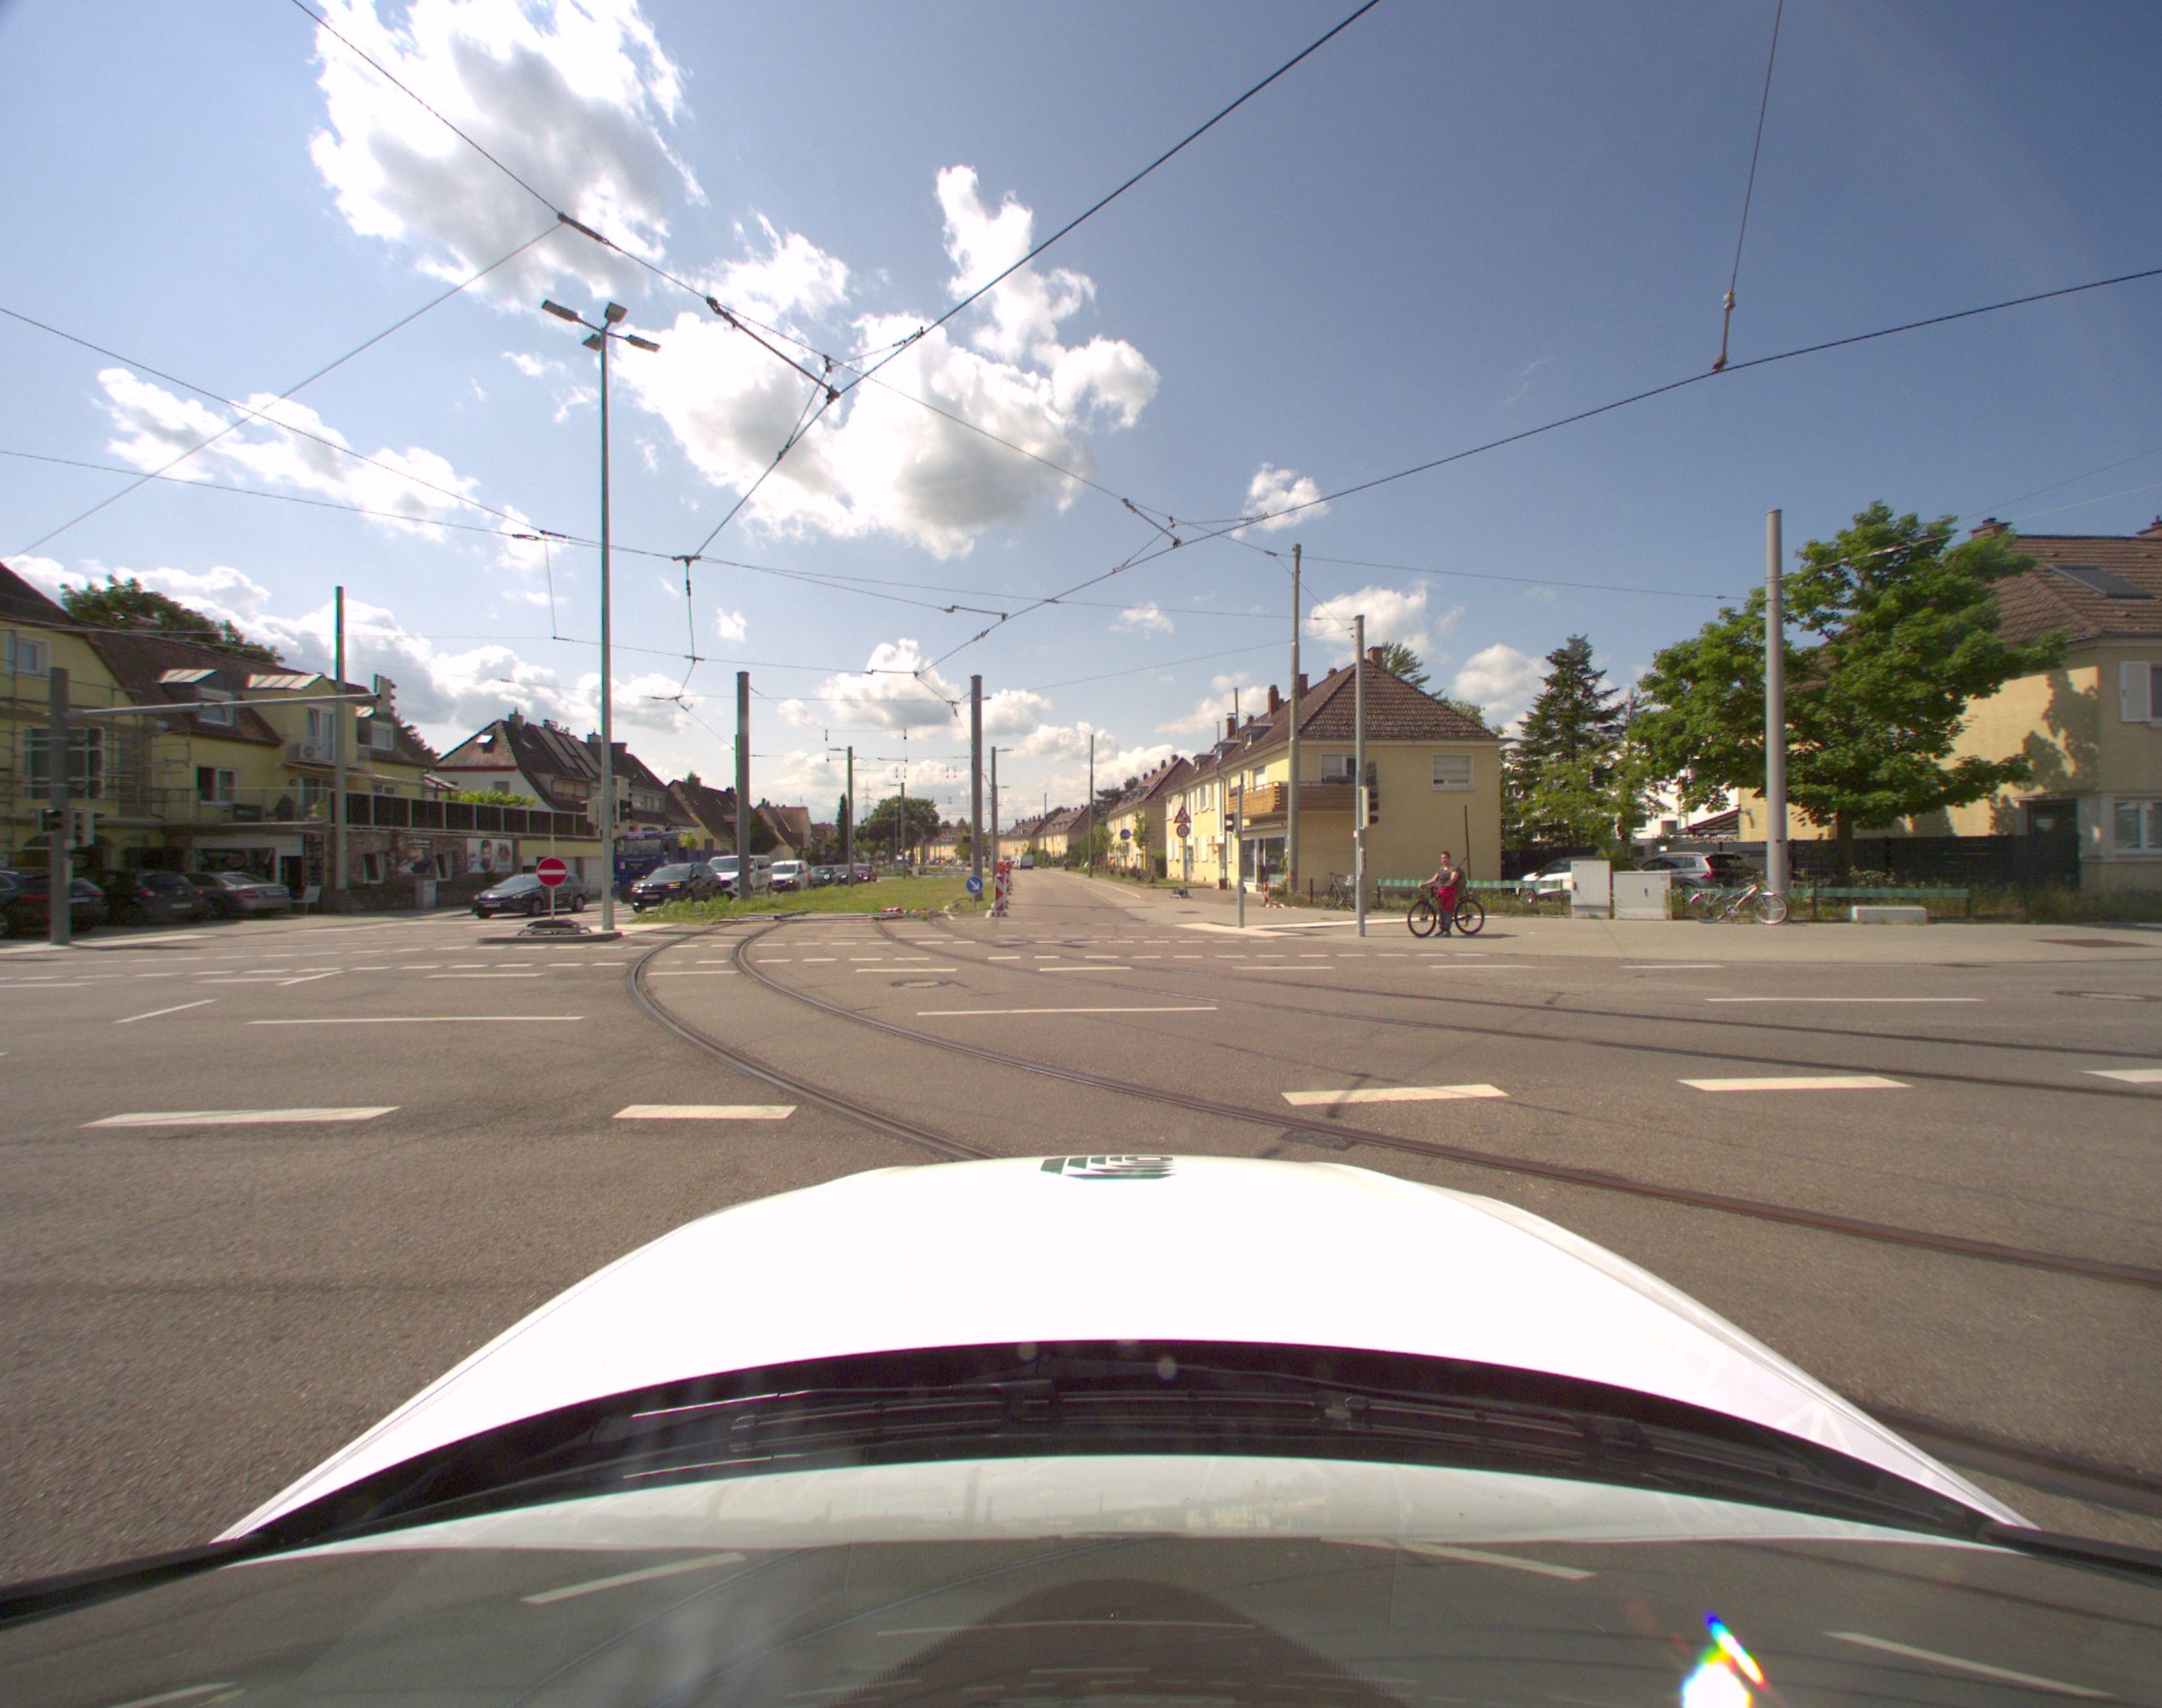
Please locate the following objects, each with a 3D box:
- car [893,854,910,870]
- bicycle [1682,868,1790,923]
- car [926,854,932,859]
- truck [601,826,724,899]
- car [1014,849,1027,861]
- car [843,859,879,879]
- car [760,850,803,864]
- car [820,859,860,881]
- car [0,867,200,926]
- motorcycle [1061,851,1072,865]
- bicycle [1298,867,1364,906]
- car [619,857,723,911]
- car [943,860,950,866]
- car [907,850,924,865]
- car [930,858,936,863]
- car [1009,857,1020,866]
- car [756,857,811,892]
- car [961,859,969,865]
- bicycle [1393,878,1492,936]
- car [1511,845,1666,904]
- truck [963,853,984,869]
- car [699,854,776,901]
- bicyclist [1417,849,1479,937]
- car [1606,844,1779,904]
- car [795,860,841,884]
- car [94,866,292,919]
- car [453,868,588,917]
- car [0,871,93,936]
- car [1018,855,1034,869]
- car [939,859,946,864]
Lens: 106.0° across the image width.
[{"bbox_3d":[-27.709,1.226,125.627,2.411,2.338,4.853,-1,0,-16],"label":"car"},{"bbox_3d":[14.200,0.874,17.692,1.785,1.105,0.707,-1,0,40],"label":"bicycle"},{"bbox_3d":[-43.732,0.758,234.426,1.264,1.350,2.643,-1,0,-25],"label":"car"},{"bbox_3d":[-20.038,0.413,39.608,2.765,3.188,7.565,-1,-1,-6],"label":"truck"},{"bbox_3d":[-10.174,0.191,136.657,1.569,1.897,3.774,-1,0,-12],"label":"car"},{"bbox_3d":[-17.271,1.177,64.162,1.840,1.494,4.847,-1,0,-5],"label":"car"},{"bbox_3d":[-33.832,0.327,92.062,4.102,1.466,1.987,-1,0,-6],"label":"car"},{"bbox_3d":[-16.878,1.087,57.319,1.841,1.413,4.906,-1,0,-6],"label":"car"},{"bbox_3d":[-27.272,1.145,22.362,4.130,1.493,1.504,1,0,-7],"label":"car"},{"bbox_3d":[-1.817,0.476,101.549,1.065,1.635,2.079,-1,0,-6],"label":"motorcycle"},{"bbox_3d":[7.606,0.968,24.940,0.596,1.096,2.259,0,-1,-24],"label":"bicycle"},{"bbox_3d":[-14.624,1.008,29.369,1.783,1.720,4.434,-1,0,-5],"label":"car"},{"bbox_3d":[-36.388,2.387,219.584,1.263,1.426,2.645,-1,0,-23],"label":"car"},{"bbox_3d":[-28.072,0.566,137.818,2.411,2.370,4.853,-1,0,-16],"label":"car"},{"bbox_3d":[-41.928,1.960,230.714,1.264,1.350,2.643,-1,0,-25],"label":"car"},{"bbox_3d":[-11.581,1.303,141.690,1.569,1.551,3.774,-1,0,-12],"label":"car"},{"bbox_3d":[-15.878,1.062,43.689,1.731,1.782,4.395,-1,0,-6],"label":"car"},{"bbox_3d":[-28.563,2.053,199.952,1.262,1.426,2.646,-1,0,-22],"label":"car"},{"bbox_3d":[7.486,1.069,16.861,2.037,1.102,0.709,0,-1,-26],"label":"bicycle"},{"bbox_3d":[15.157,0.622,24.597,1.821,1.621,3.989,-1,-1,-8],"label":"car"},{"bbox_3d":[-24.856,1.645,187.634,2.651,3.494,9.368,-1,0,-22],"label":"truck"},{"bbox_3d":[-14.974,0.968,35.796,1.812,1.922,4.737,-1,0,-6],"label":"car"},{"bbox_3d":[7.626,0.782,16.933,0.962,1.775,0.714,0,-1,-25],"label":"bicyclist"},{"bbox_3d":[17.950,0.595,24.175,1.821,1.621,3.989,-1,-1,-8],"label":"car"},{"bbox_3d":[-16.152,1.066,50.261,1.912,1.419,3.991,-1,0,-6],"label":"car"},{"bbox_3d":[-27.227,1.172,25.075,4.130,1.493,1.431,1,0,-7],"label":"car"},{"bbox_3d":[-19.080,1.249,27.979,1.824,1.487,4.328,-1,0,-3],"label":"car"},{"bbox_3d":[-26.900,1.158,19.677,4.130,1.493,1.176,1,0,-7],"label":"car"},{"bbox_3d":[-8.602,1.267,127.015,2.064,2.149,4.865,-1,0,-8],"label":"car"},{"bbox_3d":[-38.169,2.089,224.133,1.264,1.426,2.643,-1,-1,-25],"label":"car"}]
